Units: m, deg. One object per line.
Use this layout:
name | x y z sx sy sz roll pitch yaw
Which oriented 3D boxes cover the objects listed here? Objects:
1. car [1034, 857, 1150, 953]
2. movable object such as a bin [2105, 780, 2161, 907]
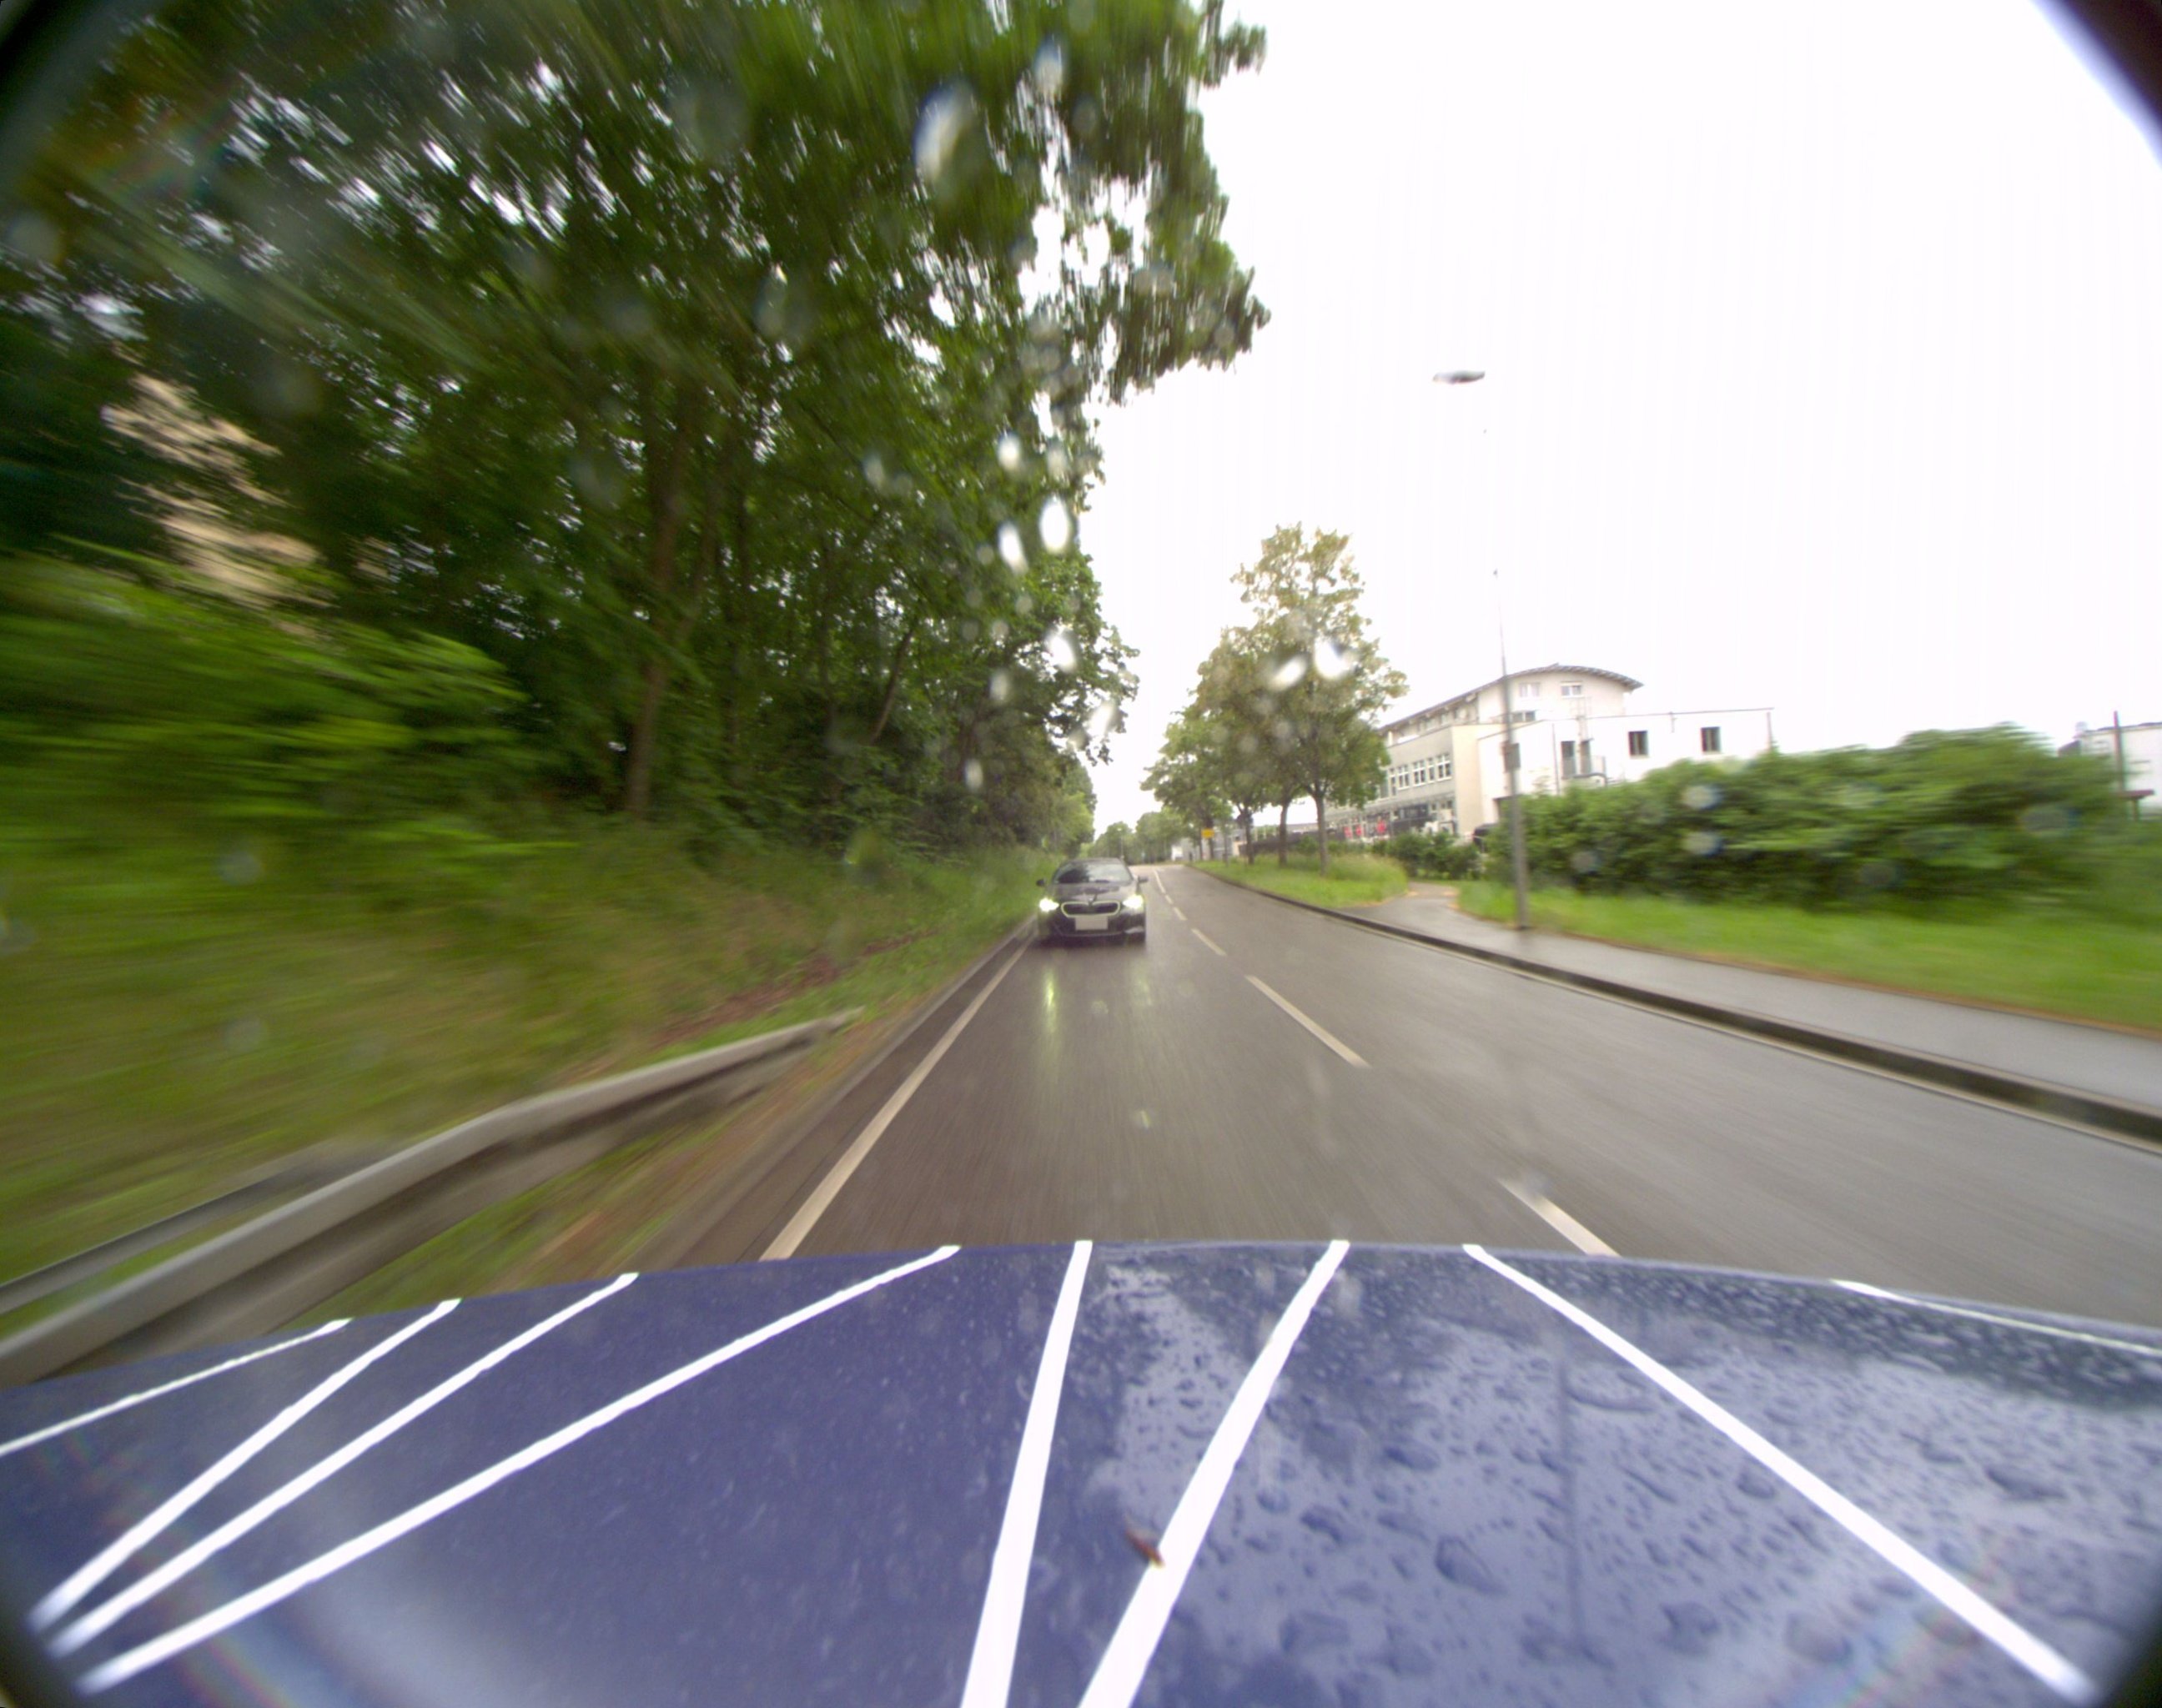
car | 0.190 0.845 14.427 1.845 1.471 4.000 -2 0 0
movable object such as a bin | 15.446 -0.123 8.634 1.847 1.896 7.922 -2 0 33
